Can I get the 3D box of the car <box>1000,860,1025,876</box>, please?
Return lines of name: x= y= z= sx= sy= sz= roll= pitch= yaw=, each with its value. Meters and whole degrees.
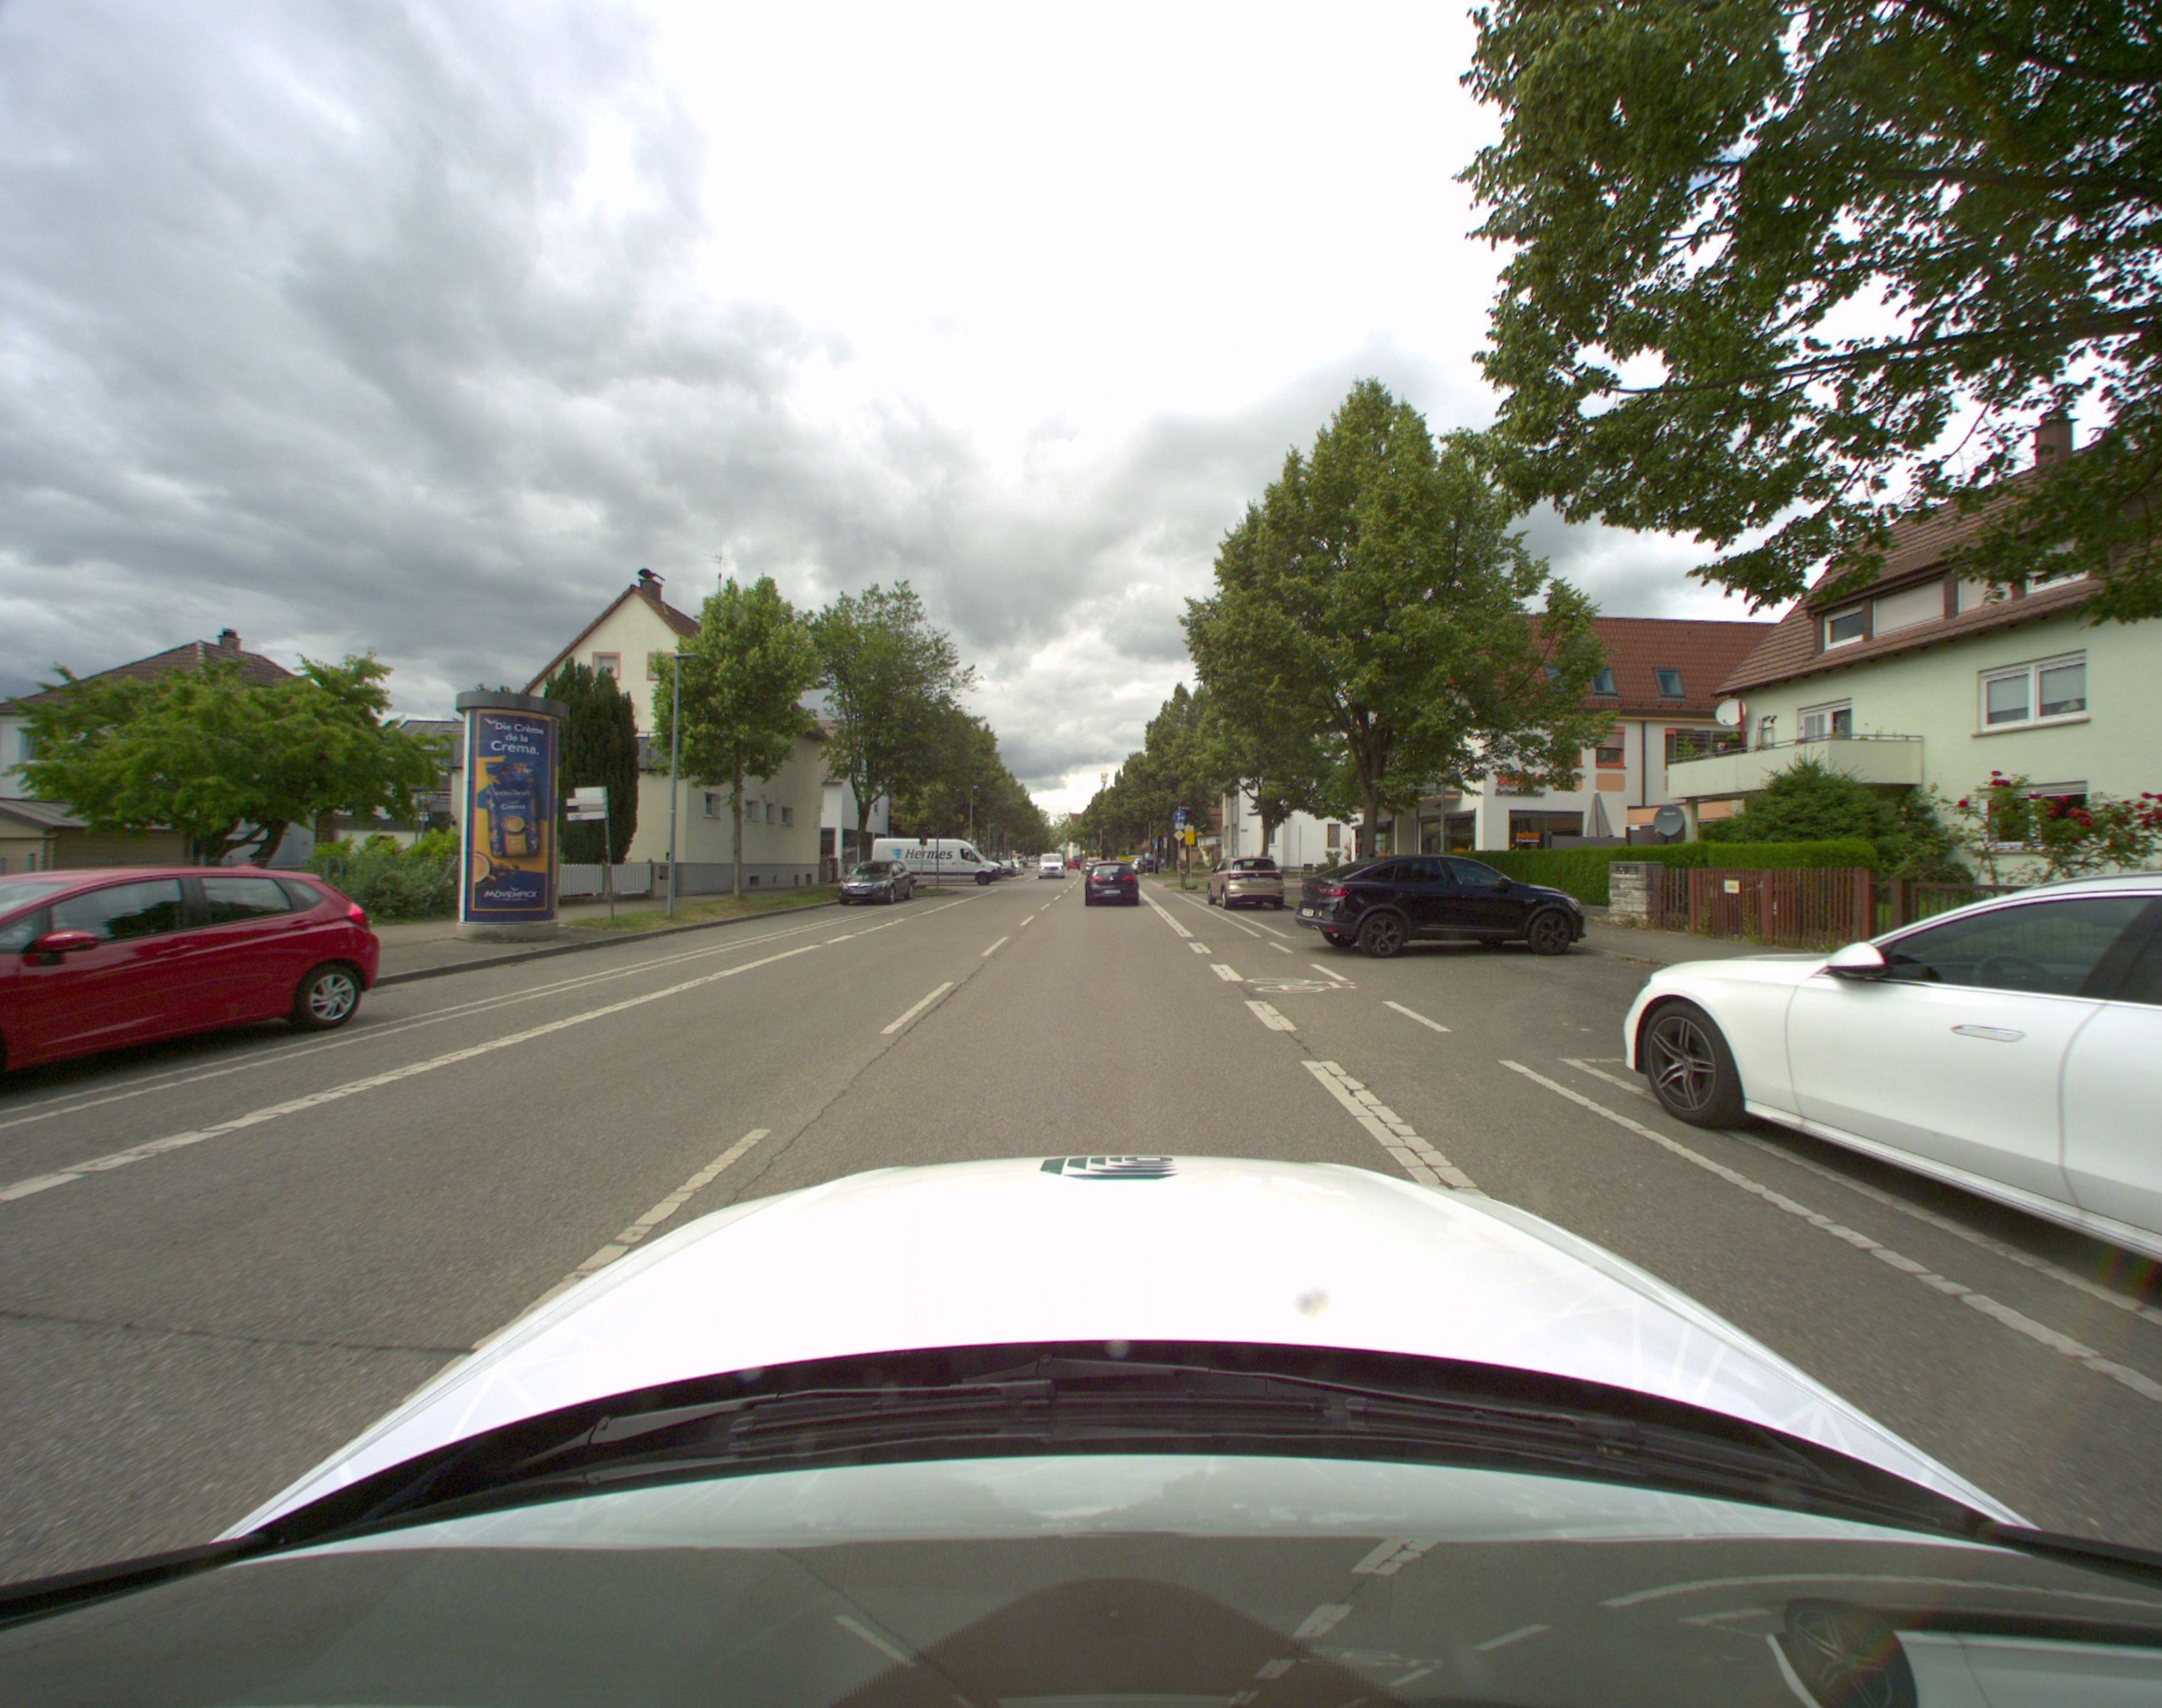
car: x=-6.108 y=1.237 z=73.385 sx=1.707 sy=1.406 sz=4.303 roll=0 pitch=0 yaw=3

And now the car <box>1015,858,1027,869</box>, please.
car: x=-9.806 y=1.528 z=133.174 sx=1.665 sy=1.772 sz=4.457 roll=-1 pitch=0 yaw=-6

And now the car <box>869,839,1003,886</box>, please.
car: x=-8.186 y=0.470 z=46.611 sx=7.271 sy=2.594 sz=2.218 roll=0 pitch=-1 yaw=-3

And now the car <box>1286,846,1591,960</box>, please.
car: x=5.633 y=0.733 z=13.123 sx=4.209 sy=1.638 sz=1.690 roll=-1 pitch=0 yaw=-5

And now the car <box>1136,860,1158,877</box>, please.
car: x=5.959 y=1.279 z=74.069 sx=1.700 sy=1.454 sz=4.615 roll=0 pitch=0 yaw=0

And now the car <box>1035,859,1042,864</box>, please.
car: x=-12.010 y=2.105 z=229.255 sx=1.807 sy=1.415 sz=3.687 roll=0 pitch=-1 yaw=-4

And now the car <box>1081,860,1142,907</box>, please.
car: x=0.935 y=0.918 z=27.094 sx=1.814 sy=1.438 sz=3.738 roll=-1 pitch=0 yaw=-1

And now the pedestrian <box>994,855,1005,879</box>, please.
pedestrian: x=-5.831 y=0.934 z=58.268 sx=0.539 sy=1.681 sz=0.752 roll=2 pitch=1 yaw=9

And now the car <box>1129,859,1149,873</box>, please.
car: x=5.996 y=1.211 z=83.915 sx=1.668 sy=1.462 sz=3.997 roll=0 pitch=0 yaw=-2

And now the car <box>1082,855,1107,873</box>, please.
car: x=1.254 y=0.939 z=77.860 sx=1.905 sy=1.685 sz=3.729 roll=0 pitch=0 yaw=-8

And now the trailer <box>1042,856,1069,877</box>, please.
trailer: x=-2.042 y=1.001 z=66.805 sx=1.931 sy=1.677 sz=4.689 roll=0 pitch=0 yaw=1

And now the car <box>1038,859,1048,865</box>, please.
car: x=-8.675 y=1.930 z=187.650 sx=1.810 sy=1.415 sz=3.680 roll=0 pitch=-1 yaw=-10

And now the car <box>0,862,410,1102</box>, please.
car: x=-7.777 y=0.842 z=6.240 sx=1.678 sy=1.541 sz=4.135 roll=0 pitch=0 yaw=3

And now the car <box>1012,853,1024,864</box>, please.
car: x=-12.003 y=0.847 z=155.321 sx=2.090 sy=2.175 sz=5.032 roll=0 pitch=0 yaw=-7

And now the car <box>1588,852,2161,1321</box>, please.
car: x=4.297 y=0.736 z=3.047 sx=1.800 sy=1.475 sz=4.811 roll=0 pitch=-1 yaw=0

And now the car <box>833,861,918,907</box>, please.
car: x=-7.119 y=0.998 z=28.687 sx=1.724 sy=1.469 sz=4.303 roll=-1 pitch=0 yaw=2

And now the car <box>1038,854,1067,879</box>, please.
car: x=-2.142 y=0.898 z=62.047 sx=1.959 sy=1.830 sz=4.820 roll=0 pitch=0 yaw=1

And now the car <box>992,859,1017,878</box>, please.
car: x=-6.172 y=1.163 z=66.368 sx=1.637 sy=1.420 sz=4.019 roll=-1 pitch=0 yaw=0

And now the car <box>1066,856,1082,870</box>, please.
car: x=-0.859 y=1.117 z=102.945 sx=1.787 sy=1.623 sz=3.735 roll=-1 pitch=0 yaw=-4

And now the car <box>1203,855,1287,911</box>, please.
car: x=4.924 y=0.829 z=24.976 sx=1.717 sy=1.580 sz=4.059 roll=0 pitch=0 yaw=-1

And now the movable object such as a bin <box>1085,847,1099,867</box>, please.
movable object such as a bin: x=1.428 y=0.421 z=106.199 sx=1.763 sy=2.574 sz=3.738 roll=0 pitch=0 yaw=-1
